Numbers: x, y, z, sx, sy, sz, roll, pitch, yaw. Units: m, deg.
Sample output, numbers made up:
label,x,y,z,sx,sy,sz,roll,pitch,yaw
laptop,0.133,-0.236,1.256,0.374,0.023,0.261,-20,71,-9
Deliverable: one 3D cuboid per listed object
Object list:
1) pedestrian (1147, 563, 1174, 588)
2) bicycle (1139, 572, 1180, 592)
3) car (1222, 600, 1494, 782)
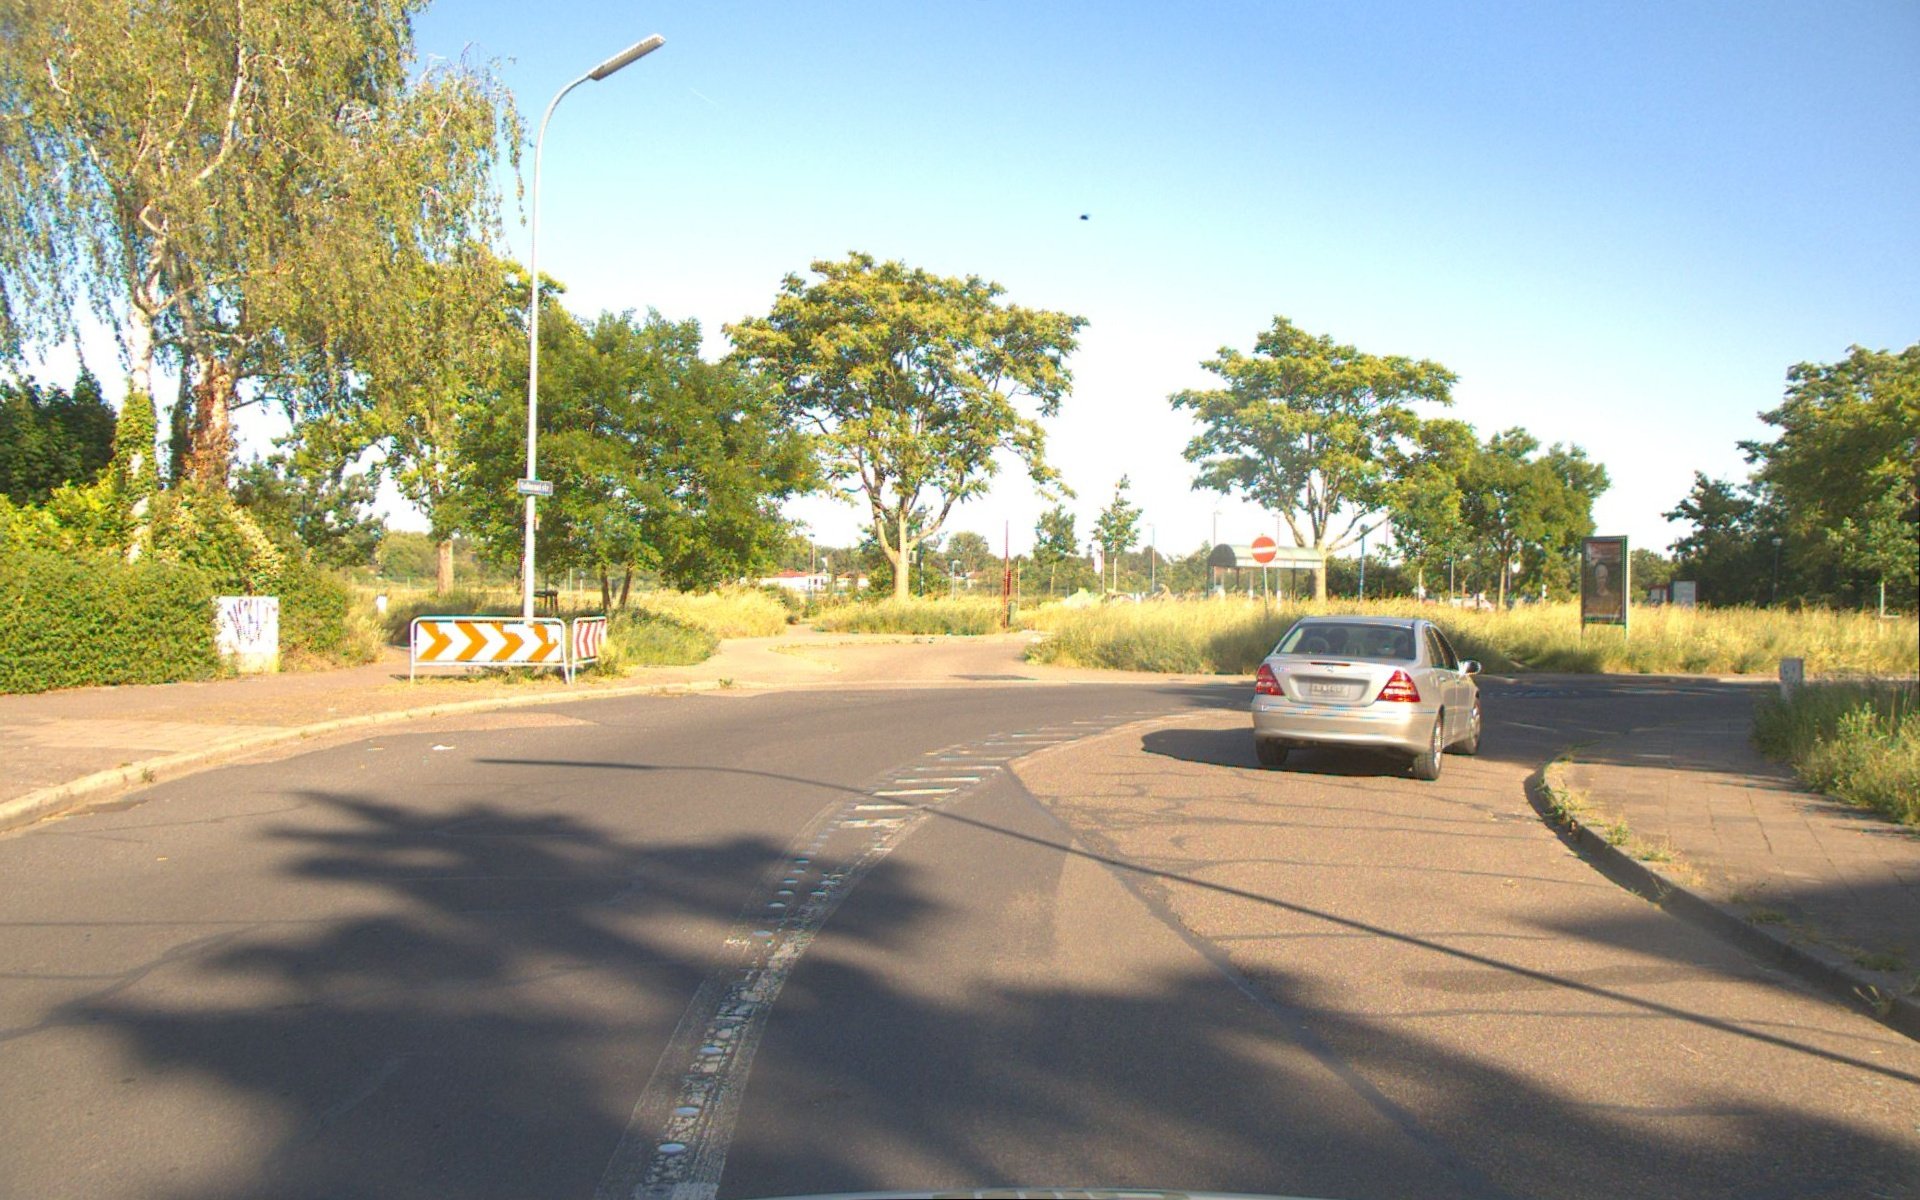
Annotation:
label,x,y,z,sx,sy,sz,roll,pitch,yaw
pedestrian,7.899,-0.960,65.261,0.789,0.957,0.696,1,1,-31
bicycle,7.867,-0.706,65.259,1.555,0.716,0.647,2,0,-31
car,4.084,0.779,16.427,1.780,1.488,4.358,2,1,25
